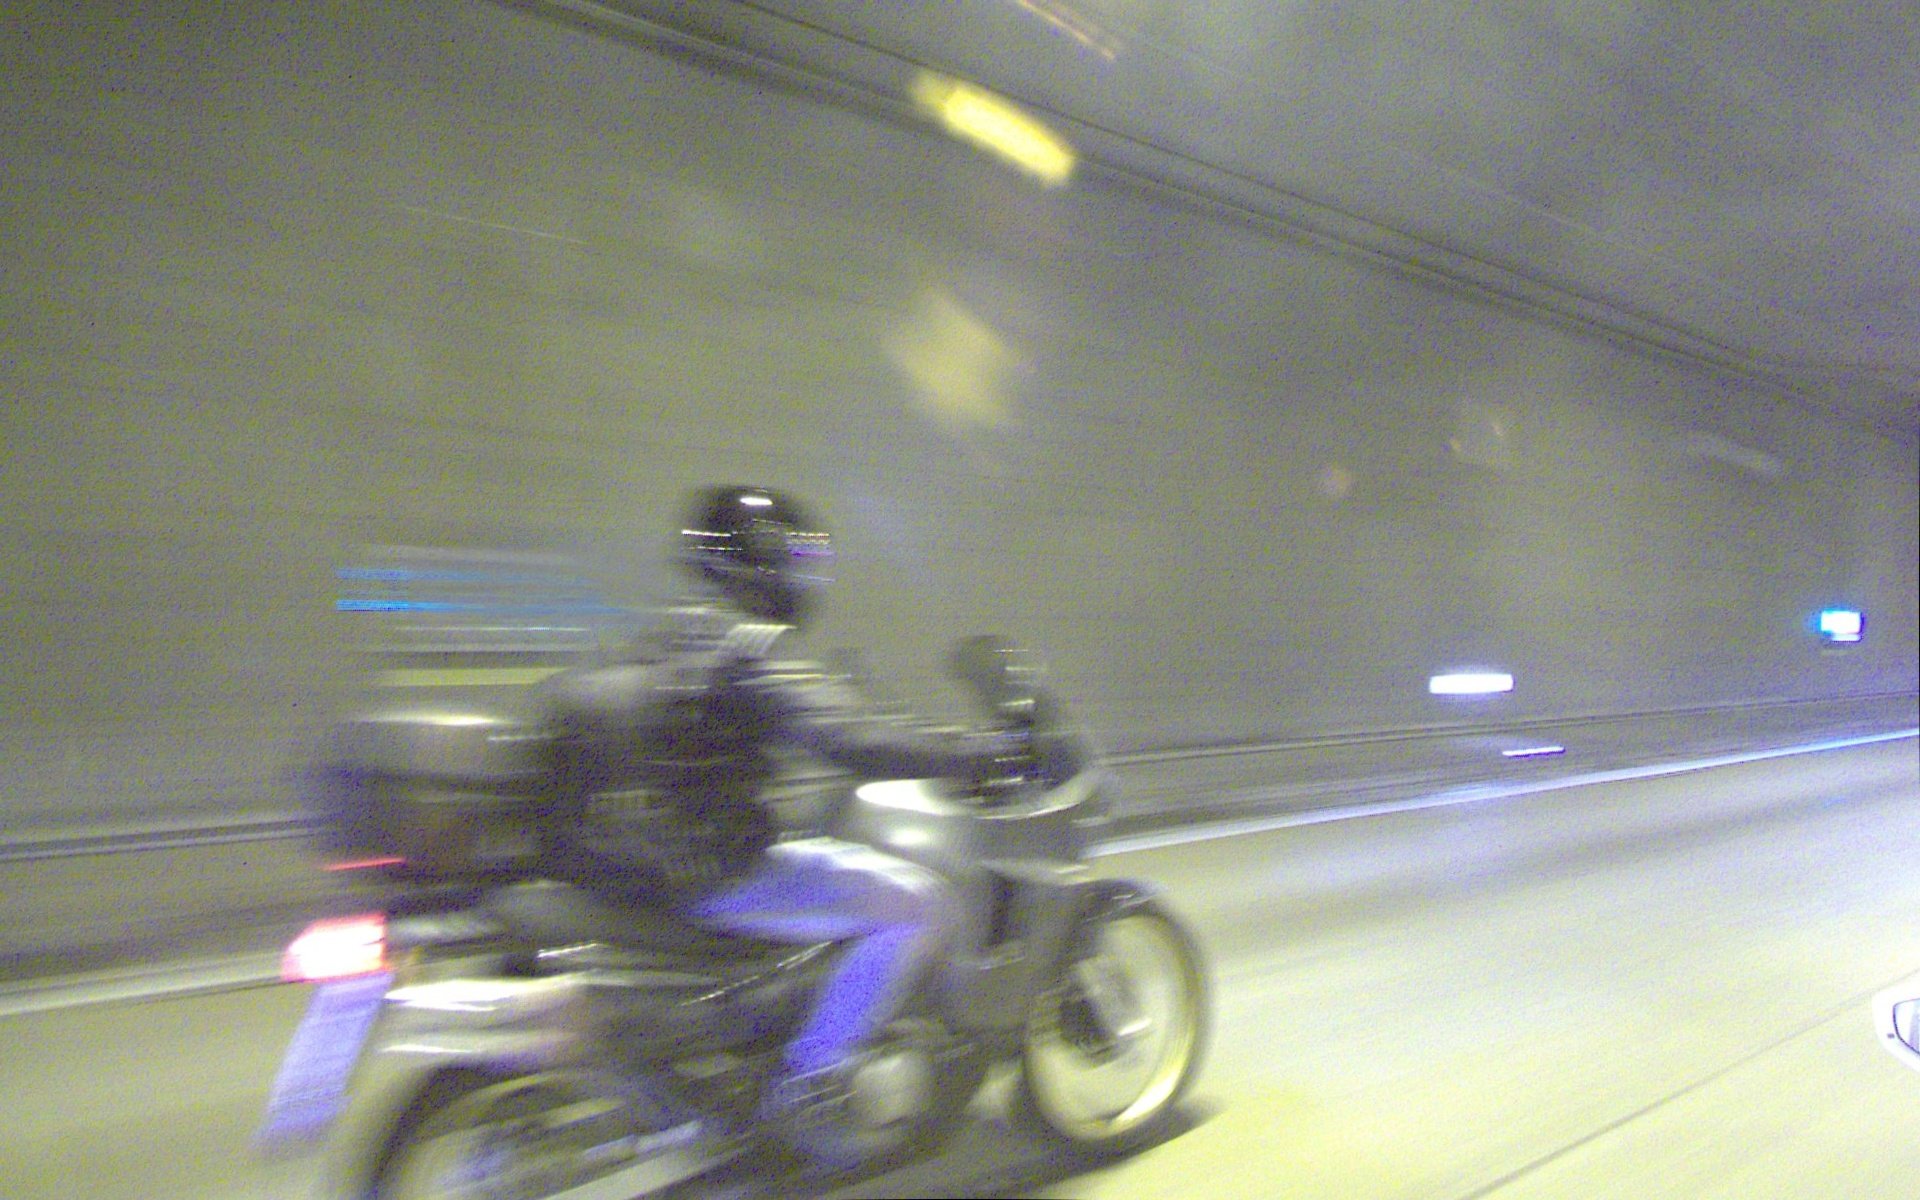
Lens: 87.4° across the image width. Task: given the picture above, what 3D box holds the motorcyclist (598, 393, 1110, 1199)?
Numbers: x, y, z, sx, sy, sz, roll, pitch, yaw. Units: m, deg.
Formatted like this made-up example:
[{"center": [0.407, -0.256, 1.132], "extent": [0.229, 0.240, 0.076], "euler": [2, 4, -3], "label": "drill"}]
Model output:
[{"center": [-0.265, 0.423, 2.184], "extent": [0.812, 1.497, 0.834], "euler": [1, 0, -32], "label": "motorcyclist"}]

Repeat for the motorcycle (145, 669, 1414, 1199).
[{"center": [-0.135, 0.813, 2.283], "extent": [2.576, 1.262, 0.841], "euler": [2, -1, -33], "label": "motorcycle"}]
